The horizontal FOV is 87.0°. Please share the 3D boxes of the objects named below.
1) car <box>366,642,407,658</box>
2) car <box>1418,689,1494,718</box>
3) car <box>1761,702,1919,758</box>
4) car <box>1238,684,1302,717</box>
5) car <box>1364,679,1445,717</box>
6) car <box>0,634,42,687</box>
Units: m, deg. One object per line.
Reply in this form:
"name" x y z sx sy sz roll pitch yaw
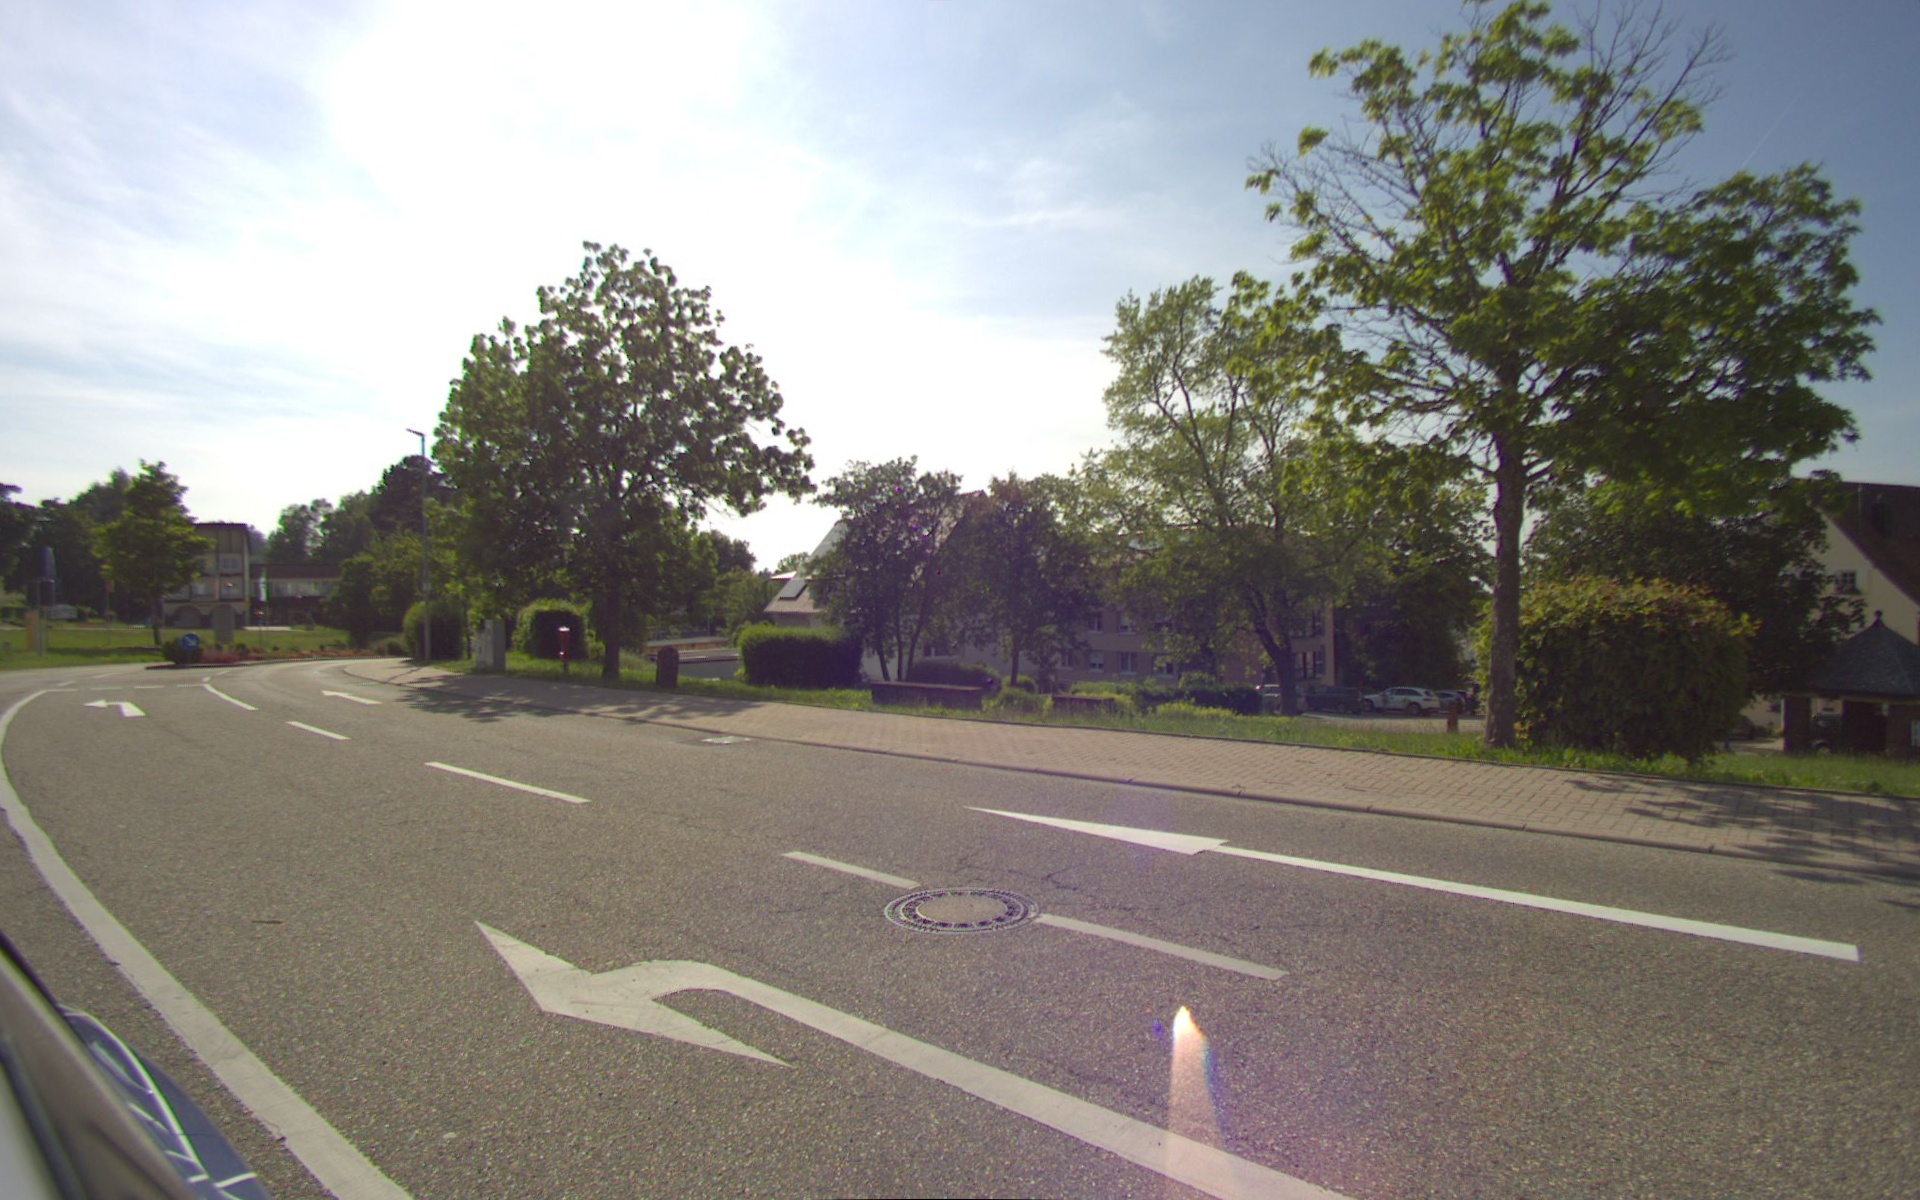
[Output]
"car" -56.020 4.889 98.884 3.288 1.415 1.703 1 -2 21
"car" 32.285 6.694 65.905 1.969 1.676 4.006 4 -4 -40
"car" 28.516 4.177 32.911 1.551 1.478 3.513 2 -2 -23
"car" 16.966 5.460 55.440 1.543 1.652 2.976 2 -4 -39
"car" 26.613 5.837 60.646 1.969 2.029 4.006 4 -4 -40
"car" -29.087 1.715 29.039 1.876 1.519 4.002 3 -3 -3
